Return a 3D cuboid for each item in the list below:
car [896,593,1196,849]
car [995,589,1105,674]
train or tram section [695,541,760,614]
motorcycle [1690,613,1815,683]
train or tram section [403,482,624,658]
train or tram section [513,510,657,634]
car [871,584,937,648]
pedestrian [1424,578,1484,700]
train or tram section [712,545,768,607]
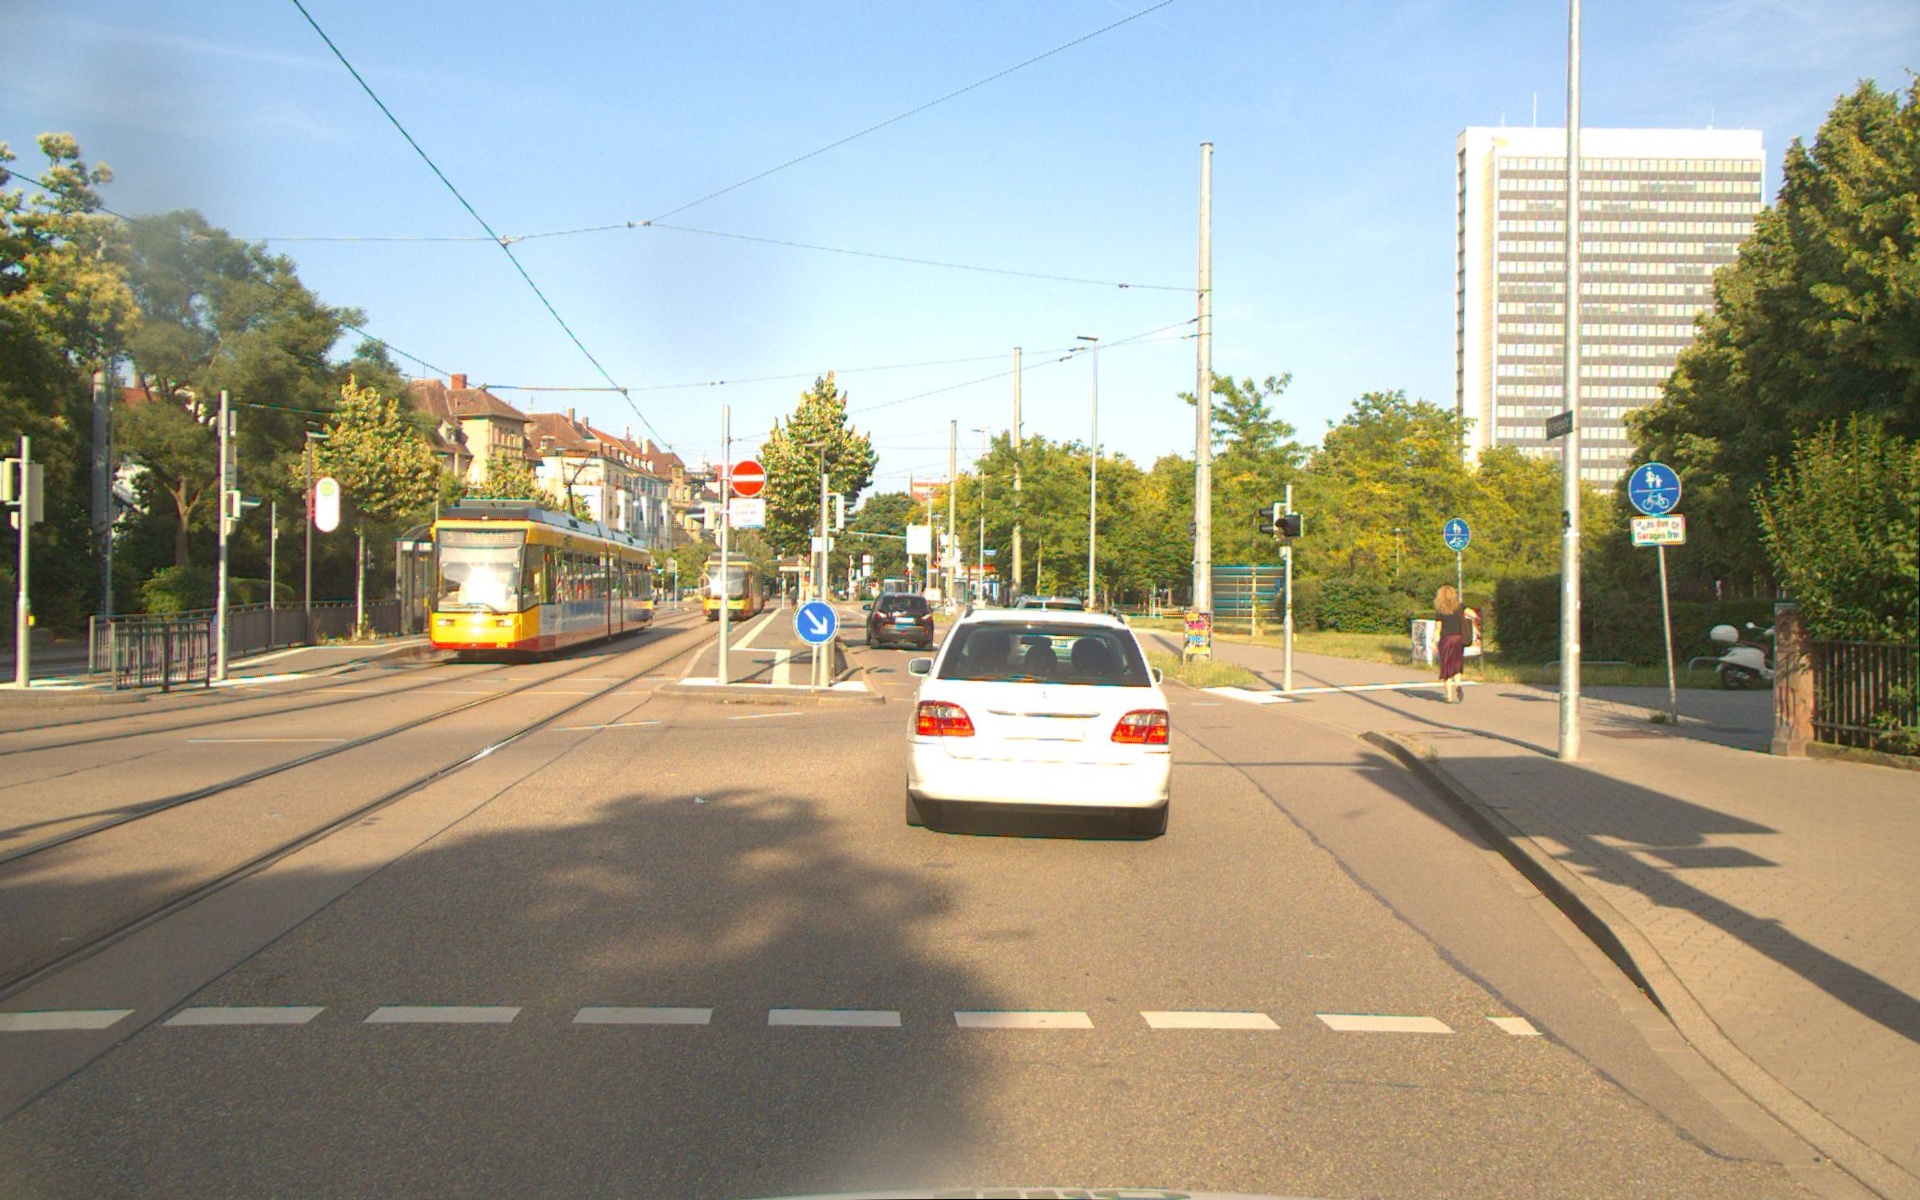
[{"bbox_3d":[0.448,0.732,11.964,1.723,1.530,3.997,0,0,-4],"label":"car"},{"bbox_3d":[1.839,0.614,35.008,1.992,1.633,3.999,1,1,-2],"label":"car"},{"bbox_3d":[-12.408,-1.236,89.195,2.794,3.540,13.185,2,1,-5],"label":"train or tram section"},{"bbox_3d":[14.035,0.853,29.309,1.961,1.180,0.706,1,0,-11],"label":"motorcycle"},{"bbox_3d":[-10.602,-0.698,41.083,3.101,3.540,14.512,1,1,-7],"label":"train or tram section"},{"bbox_3d":[-12.246,-0.893,55.392,3.101,3.540,14.451,1,1,-7],"label":"train or tram section"},{"bbox_3d":[-1.583,0.426,47.312,1.751,1.719,3.999,1,1,-1],"label":"car"},{"bbox_3d":[7.251,0.566,24.284,0.603,1.721,0.548,-4,0,-2],"label":"pedestrian"},{"bbox_3d":[-13.472,-1.486,102.131,2.794,3.540,13.185,1,1,-5],"label":"train or tram section"}]
